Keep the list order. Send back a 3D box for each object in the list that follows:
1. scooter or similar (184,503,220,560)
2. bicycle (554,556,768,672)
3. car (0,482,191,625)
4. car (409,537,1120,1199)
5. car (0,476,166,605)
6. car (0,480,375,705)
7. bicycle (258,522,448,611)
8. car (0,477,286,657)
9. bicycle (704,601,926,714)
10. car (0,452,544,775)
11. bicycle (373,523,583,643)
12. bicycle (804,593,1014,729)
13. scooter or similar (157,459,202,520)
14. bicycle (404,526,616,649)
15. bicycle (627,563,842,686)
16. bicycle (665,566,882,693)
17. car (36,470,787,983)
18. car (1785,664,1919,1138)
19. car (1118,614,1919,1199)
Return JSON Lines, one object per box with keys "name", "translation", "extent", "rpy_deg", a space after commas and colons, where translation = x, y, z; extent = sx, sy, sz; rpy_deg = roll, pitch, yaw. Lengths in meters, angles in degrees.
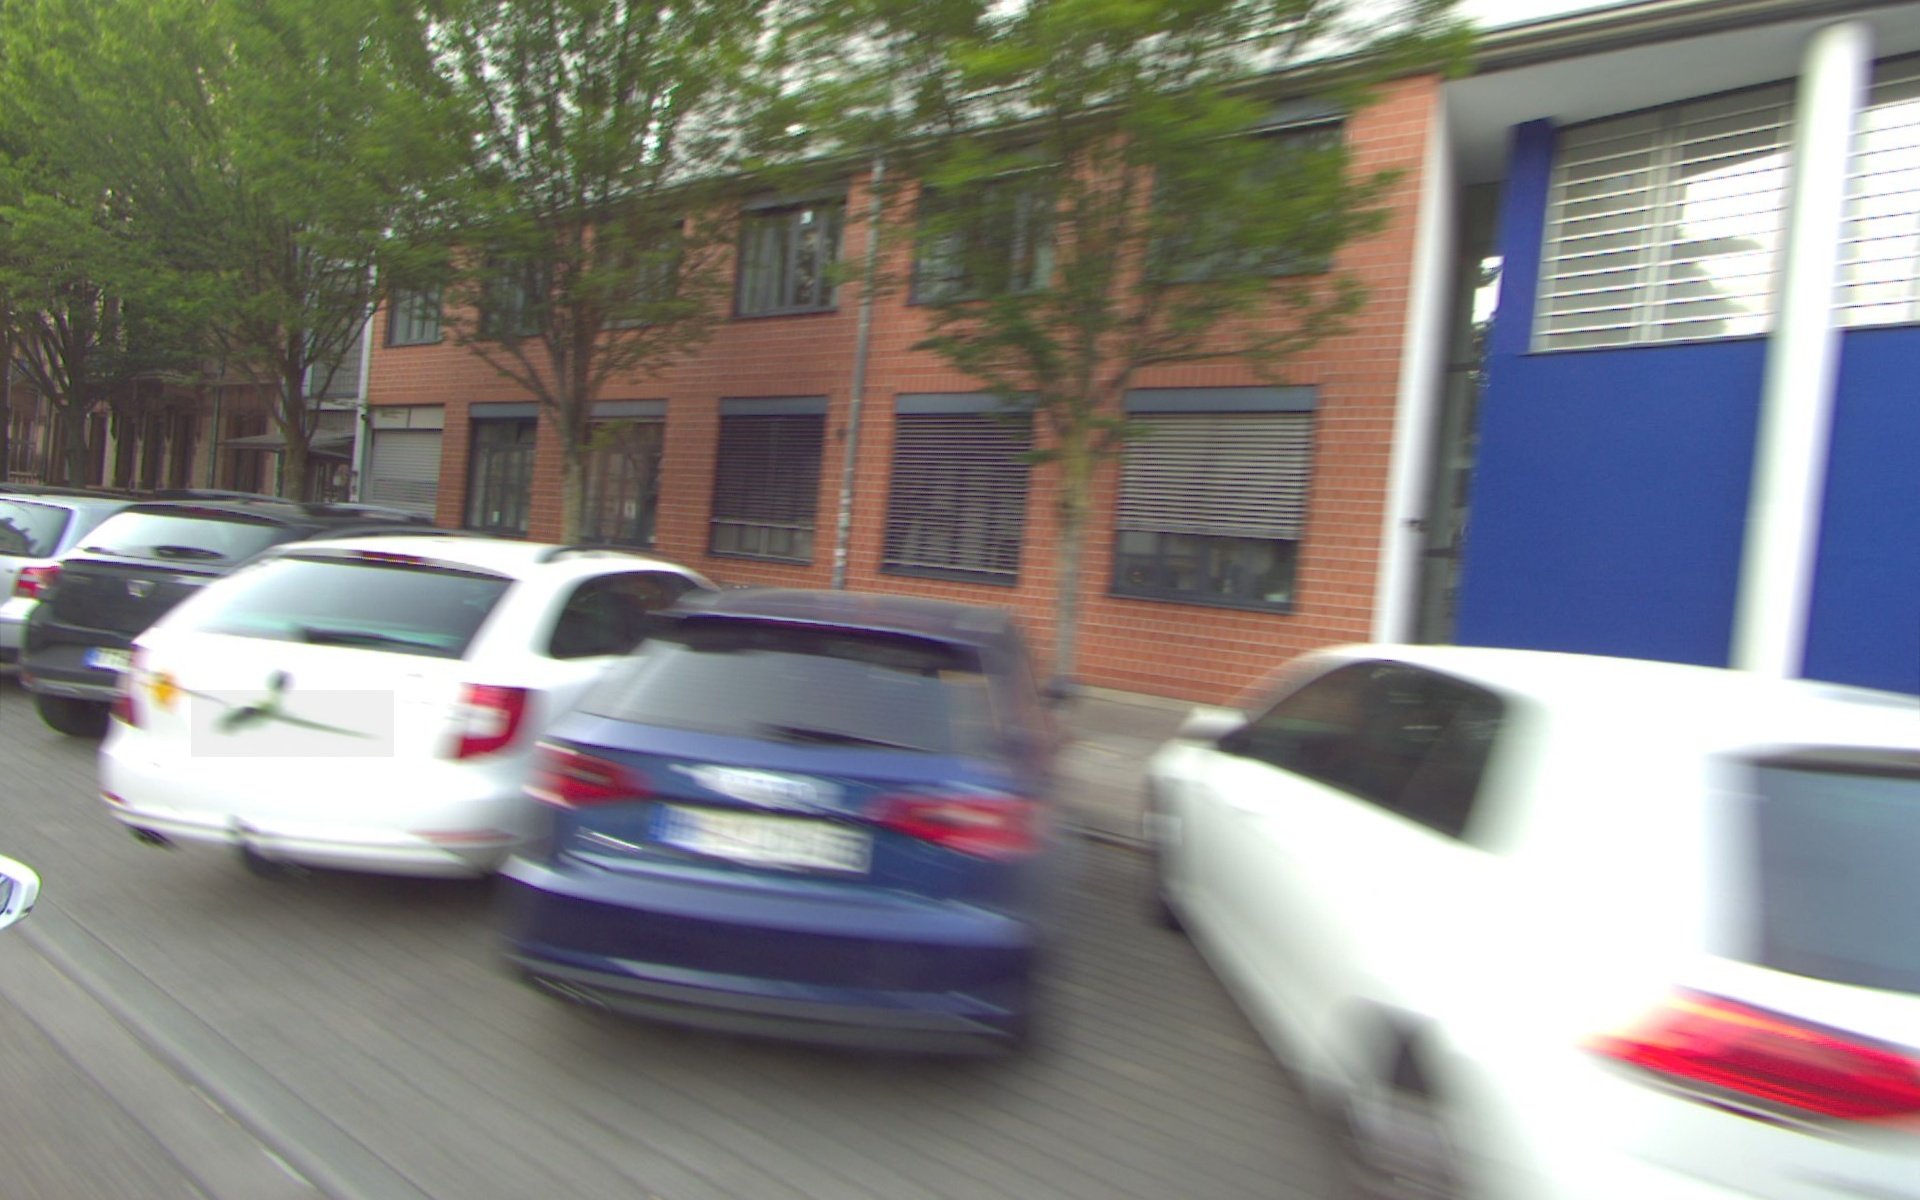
{"name": "scooter or similar", "translation": [-17.465, -1.579, 23.163], "extent": [1.752, 1.235, 0.410], "rpy_deg": [7, 6, 44]}
{"name": "bicycle", "translation": [-3.421, 0.215, 11.823], "extent": [0.553, 1.181, 2.535], "rpy_deg": [7, 0, 35]}
{"name": "car", "translation": [-11.348, -0.598, 11.436], "extent": [1.774, 1.554, 4.385], "rpy_deg": [6, 0, -1]}
{"name": "car", "translation": [-0.431, 0.695, 4.516], "extent": [1.677, 1.542, 4.000], "rpy_deg": [5, 0, 2]}
{"name": "car", "translation": [-13.326, -0.870, 13.422], "extent": [1.725, 1.658, 4.000], "rpy_deg": [6, 1, 13]}
{"name": "car", "translation": [-7.048, -0.114, 8.565], "extent": [1.690, 1.501, 3.606], "rpy_deg": [6, 0, 5]}
{"name": "bicycle", "translation": [-9.413, -0.521, 15.737], "extent": [0.590, 1.263, 2.529], "rpy_deg": [7, 5, 35]}
{"name": "car", "translation": [-8.941, -0.349, 10.144], "extent": [1.533, 1.554, 3.606], "rpy_deg": [6, 0, 5]}
{"name": "bicycle", "translation": [-1.400, 0.541, 10.358], "extent": [0.669, 0.972, 2.531], "rpy_deg": [7, 3, 35]}
{"name": "car", "translation": [-4.661, 0.066, 7.275], "extent": [1.684, 1.600, 3.604], "rpy_deg": [6, 0, 0]}
{"name": "bicycle", "translation": [-6.501, -0.176, 13.758], "extent": [0.590, 1.397, 2.535], "rpy_deg": [7, 0, 35]}
{"name": "bicycle", "translation": [-0.422, 0.537, 9.759], "extent": [0.669, 1.114, 2.344], "rpy_deg": [7, 3, 35]}
{"name": "scooter or similar", "translation": [-16.666, -2.355, 21.470], "extent": [1.752, 1.236, 0.465], "rpy_deg": [6, 8, 44]}
{"name": "bicycle", "translation": [-5.900, -0.110, 13.399], "extent": [0.590, 1.397, 2.535], "rpy_deg": [7, 0, 35]}
{"name": "bicycle", "translation": [-2.409, 0.321, 11.162], "extent": [0.553, 1.181, 2.535], "rpy_deg": [7, 0, 35]}
{"name": "bicycle", "translation": [-1.908, 0.364, 10.792], "extent": [0.553, 1.181, 2.535], "rpy_deg": [7, 0, 35]}
{"name": "car", "translation": [-2.222, 0.437, 5.417], "extent": [1.605, 1.556, 4.000], "rpy_deg": [7, 0, 2]}
{"name": "car", "translation": [3.986, 1.082, 1.799], "extent": [1.737, 1.525, 4.000], "rpy_deg": [6, 0, 3]}
{"name": "car", "translation": [1.825, 0.896, 3.332], "extent": [1.840, 1.491, 3.999], "rpy_deg": [5, 0, 0]}
